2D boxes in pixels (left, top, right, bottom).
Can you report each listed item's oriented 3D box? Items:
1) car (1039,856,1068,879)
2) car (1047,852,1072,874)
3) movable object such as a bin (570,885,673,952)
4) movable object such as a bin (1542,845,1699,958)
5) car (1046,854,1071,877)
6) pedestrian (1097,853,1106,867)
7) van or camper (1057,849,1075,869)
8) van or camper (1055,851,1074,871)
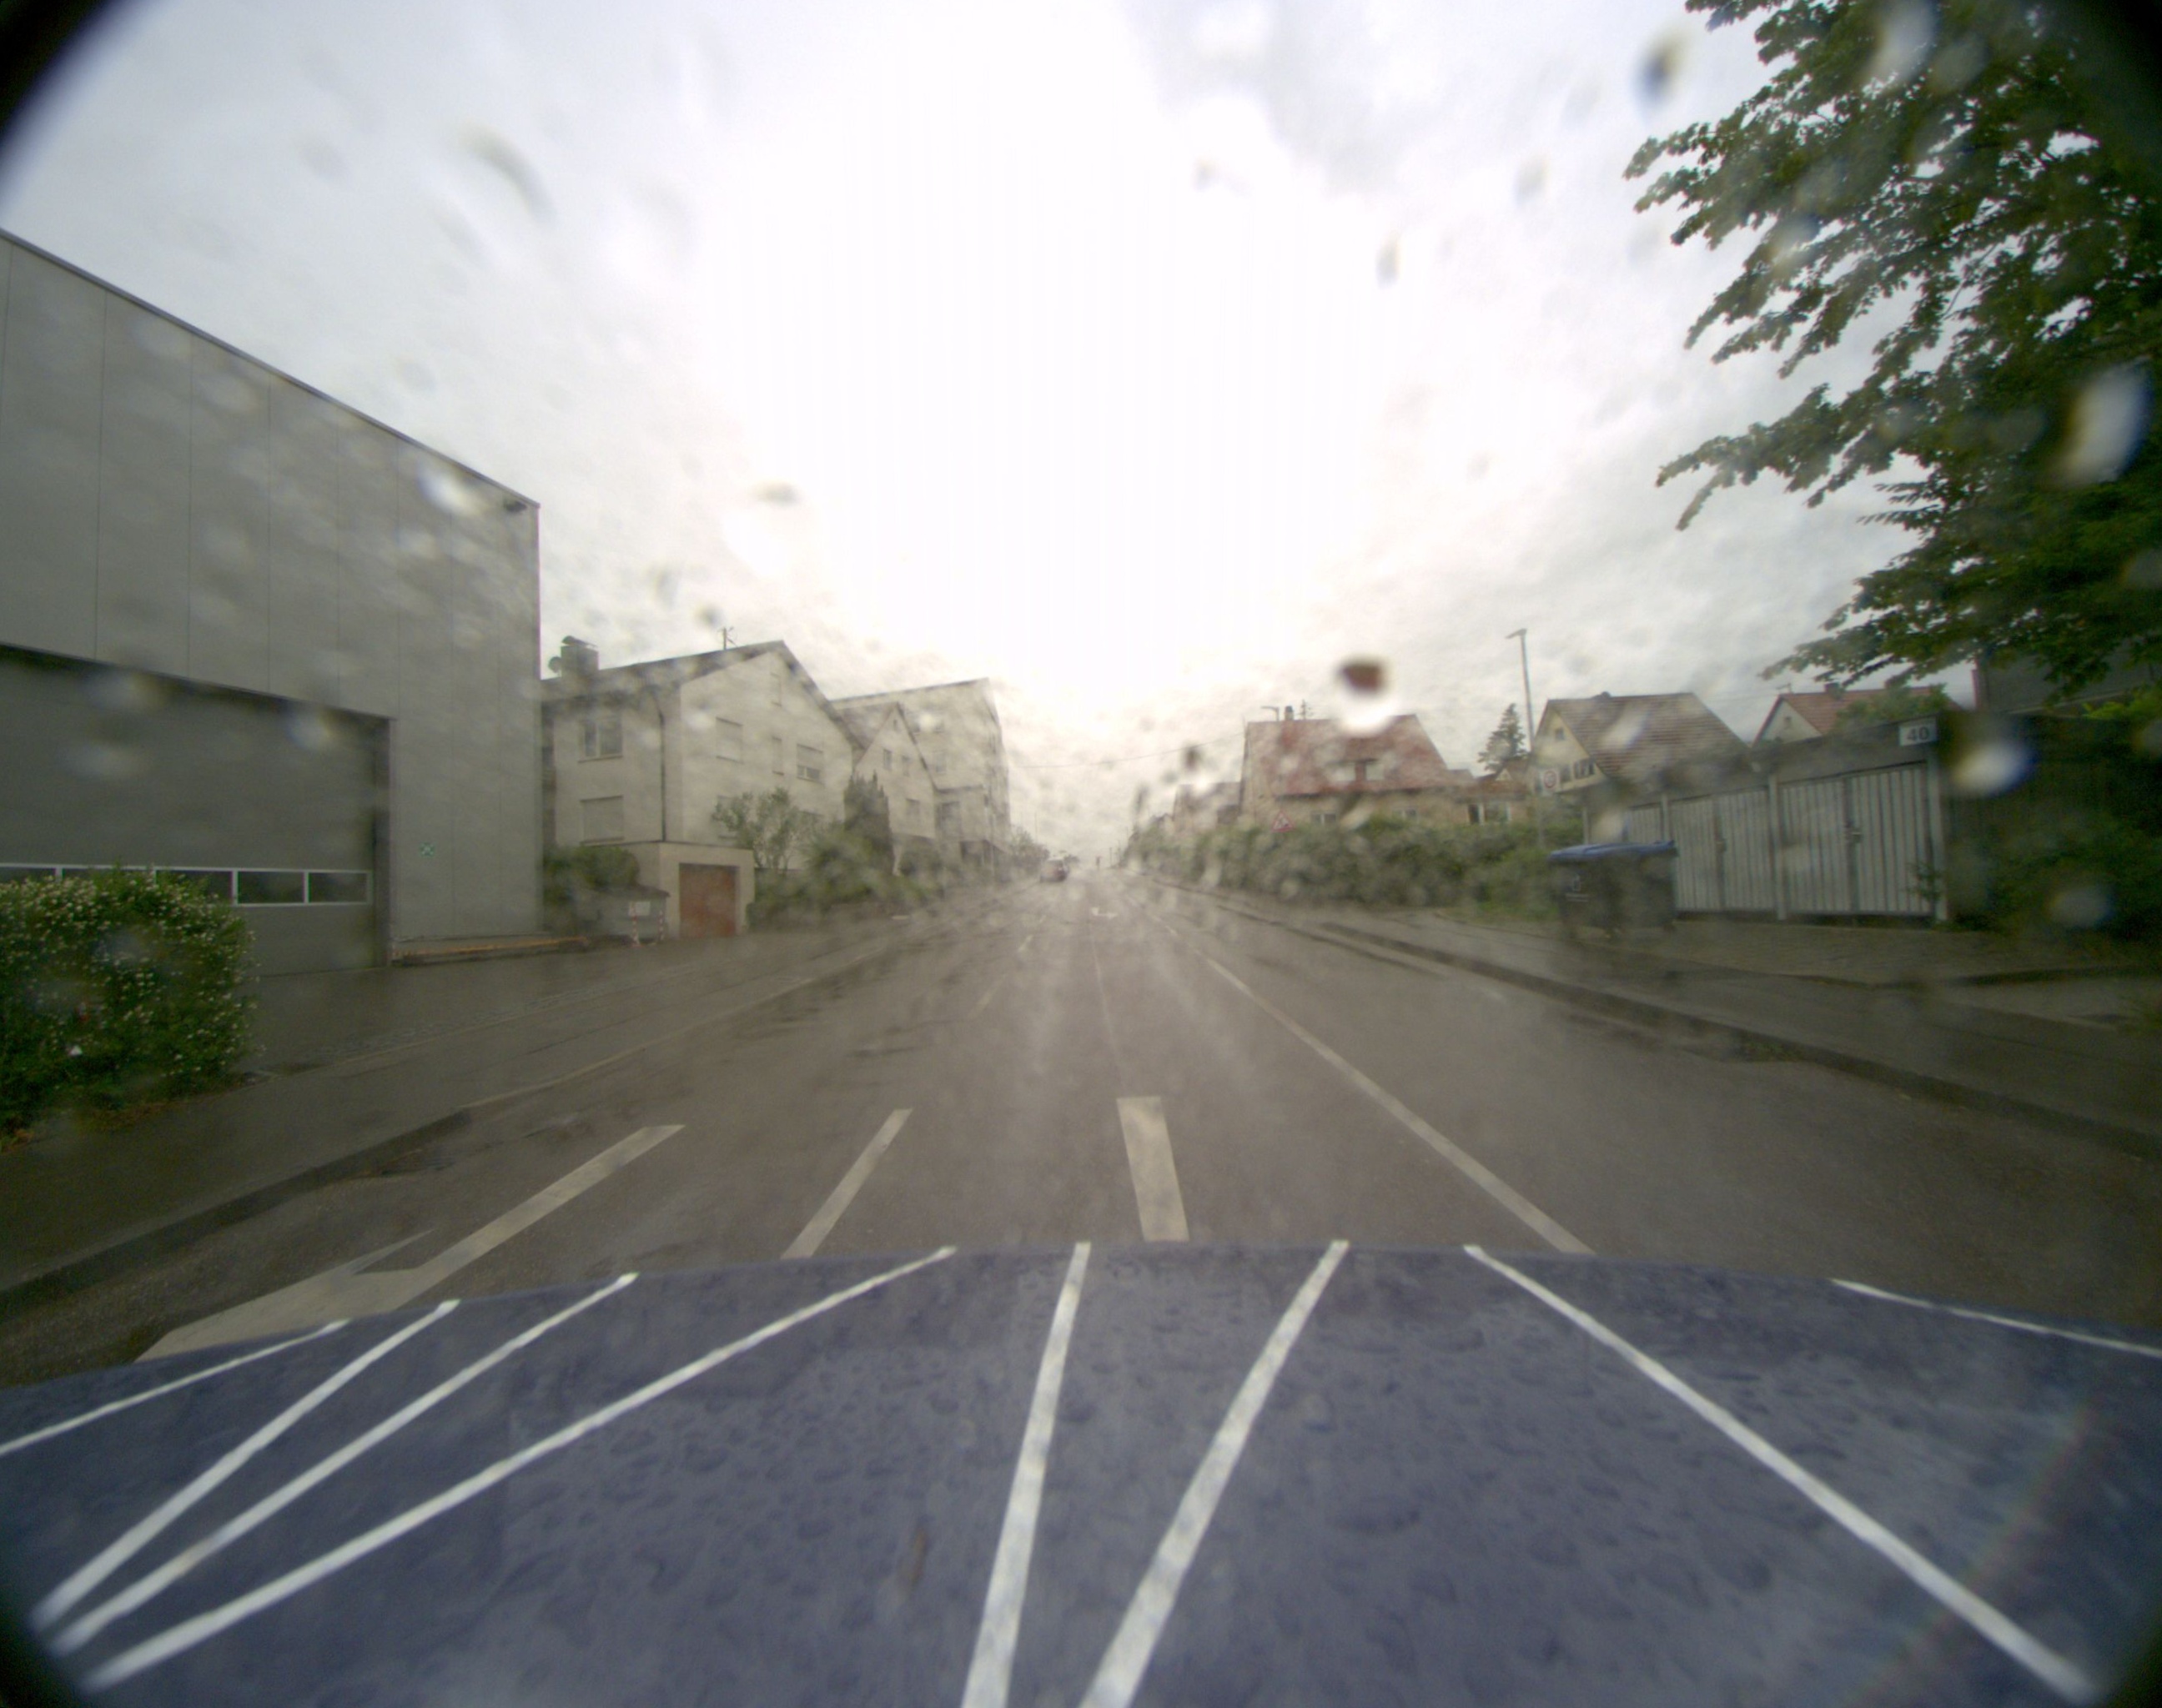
[{"bbox_3d":[-2.164,1.050,61.486,1.998,1.635,4.958,-3,0,1],"label":"car"},{"bbox_3d":[-1.999,0.854,72.490,1.998,1.923,4.976,-3,0,1],"label":"car"},{"bbox_3d":[-11.456,1.582,19.024,1.263,1.509,1.781,-2,0,16],"label":"movable object such as a bin"},{"bbox_3d":[7.197,0.603,10.225,1.074,1.339,1.319,-4,0,-1],"label":"movable object such as a bin"},{"bbox_3d":[-1.945,0.960,66.711,1.883,1.823,4.489,-3,0,1],"label":"car"},{"bbox_3d":[2.871,0.843,105.075,1.063,1.924,1.091,-3,0,-3],"label":"pedestrian"},{"bbox_3d":[-1.815,0.589,92.368,1.998,2.229,5.441,-2,0,0],"label":"van or camper"},{"bbox_3d":[-1.832,0.781,86.290,1.998,2.101,5.203,-2,0,0],"label":"van or camper"}]
